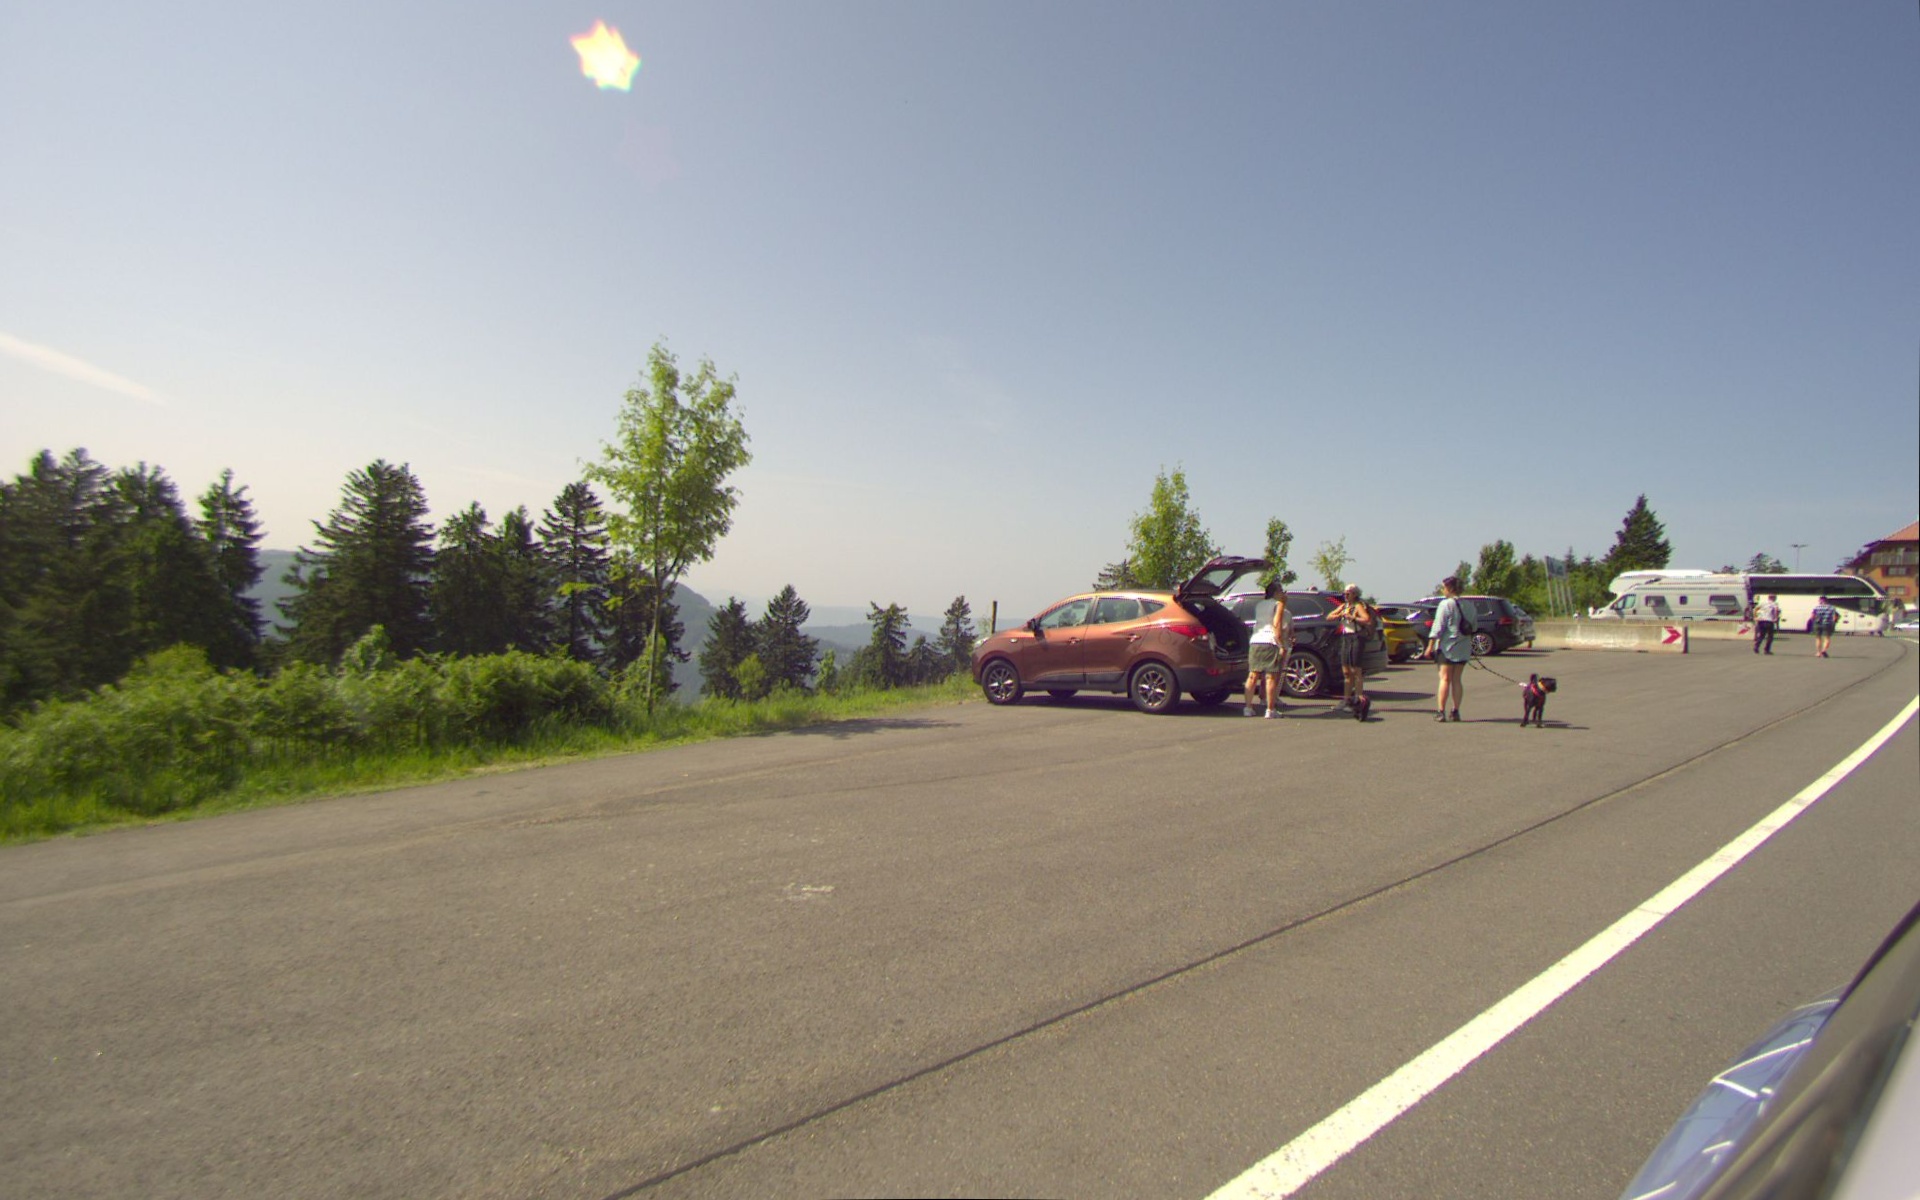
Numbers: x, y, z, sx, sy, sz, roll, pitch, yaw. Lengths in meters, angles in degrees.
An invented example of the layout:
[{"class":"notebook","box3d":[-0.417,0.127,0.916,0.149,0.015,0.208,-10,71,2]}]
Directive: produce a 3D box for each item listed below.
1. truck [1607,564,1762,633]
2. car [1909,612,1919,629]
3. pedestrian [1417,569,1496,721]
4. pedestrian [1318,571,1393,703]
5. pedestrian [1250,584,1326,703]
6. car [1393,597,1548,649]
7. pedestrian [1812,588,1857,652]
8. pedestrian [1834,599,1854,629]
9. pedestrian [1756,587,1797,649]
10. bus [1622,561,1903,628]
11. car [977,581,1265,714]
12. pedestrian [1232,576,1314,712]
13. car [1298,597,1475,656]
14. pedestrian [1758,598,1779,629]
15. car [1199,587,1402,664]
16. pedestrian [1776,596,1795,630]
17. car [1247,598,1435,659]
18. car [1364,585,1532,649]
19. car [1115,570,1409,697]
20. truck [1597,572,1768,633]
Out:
[{"class":"truck","box3d":[36.035,-0.147,50.453,6.060,3.236,2.494,2,1,42]},{"class":"car","box3d":[94.647,2.090,97.726,1.752,1.608,3.972,2,1,-20]},{"class":"pedestrian","box3d":[6.071,0.526,12.368,0.711,1.798,0.618,1,0,-39]},{"class":"pedestrian","box3d":[5.305,0.473,13.583,0.608,1.713,0.717,1,0,-39]},{"class":"pedestrian","box3d":[4.613,0.604,14.246,0.720,1.607,0.620,3,0,-26]},{"class":"car","box3d":[15.802,0.708,31.427,3.983,1.495,1.746,-1,-2,42]},{"class":"pedestrian","box3d":[24.737,0.559,28.639,0.760,1.782,0.756,1,0,-32]},{"class":"pedestrian","box3d":[48.005,0.762,54.942,0.616,1.586,0.632,1,0,-33]},{"class":"pedestrian","box3d":[23.893,0.514,29.624,0.877,1.763,0.667,1,0,-32]},{"class":"bus","box3d":[47.362,-0.484,60.325,2.793,3.622,12.853,1,1,-45]},{"class":"car","box3d":[2.232,0.623,14.584,3.811,1.682,1.629,-1,-1,40]},{"class":"pedestrian","box3d":[3.998,0.548,12.941,0.674,1.681,0.655,3,0,-33]},{"class":"car","box3d":[11.396,0.712,27.239,1.732,1.455,4.003,0,-2,-40]},{"class":"pedestrian","box3d":[44.169,0.733,55.279,0.615,1.671,0.633,1,0,-23]},{"class":"car","box3d":[7.662,0.553,22.970,3.983,1.556,1.779,1,-3,41]},{"class":"pedestrian","box3d":[44.489,0.708,54.527,0.616,1.780,0.632,1,0,-33]},{"class":"car","box3d":[9.490,0.656,25.414,1.952,1.370,3.993,0,0,-41]},{"class":"car","box3d":[13.767,0.489,28.673,3.982,1.668,1.577,-2,-1,41]},{"class":"car","box3d":[4.868,0.479,16.629,4.258,1.817,1.864,1,-1,40]},{"class":"truck","box3d":[34.021,0.074,47.819,6.262,2.623,2.303,2,0,44]}]
